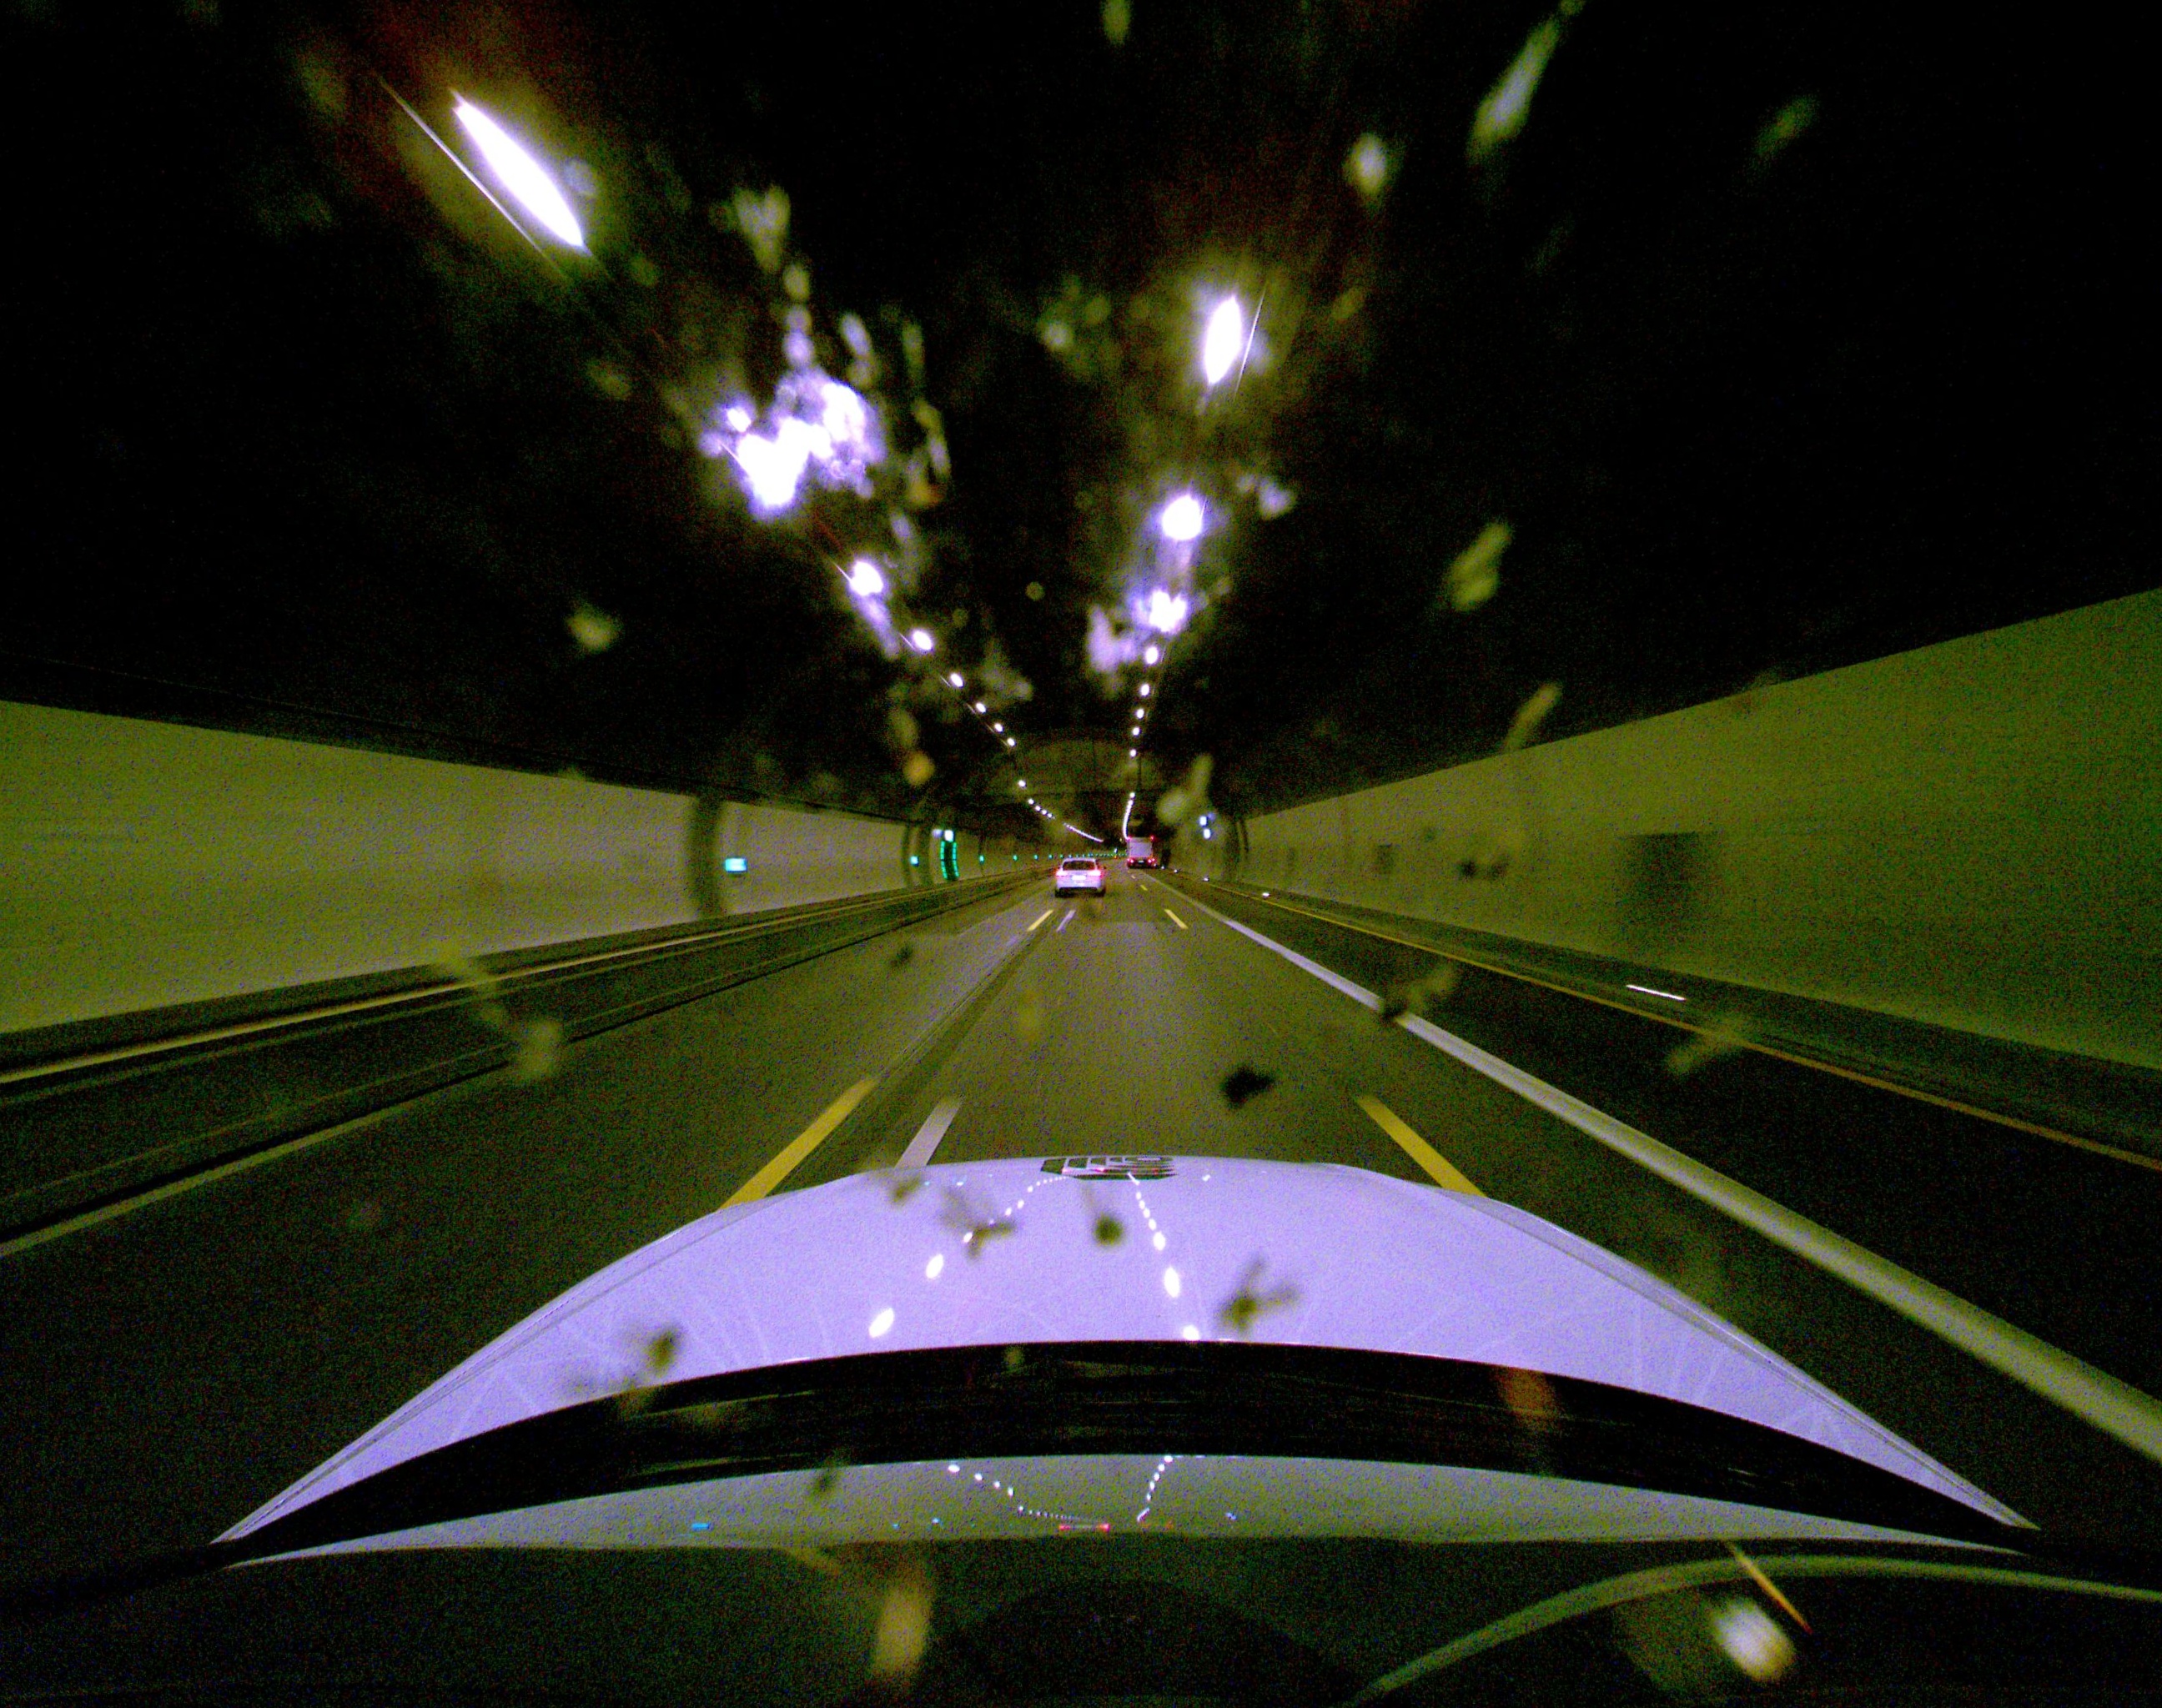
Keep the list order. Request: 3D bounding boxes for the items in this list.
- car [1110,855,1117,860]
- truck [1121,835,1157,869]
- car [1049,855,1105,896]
[{"bbox_3d":[10.206,1.052,254.233,1.983,1.519,4.007,0,-1,6],"label":"car"},{"bbox_3d":[6.513,-0.188,92.510,3.579,3.650,10.725,-1,0,2],"label":"truck"},{"bbox_3d":[-0.088,0.773,31.492,1.986,1.413,4.744,-1,0,1],"label":"car"}]
